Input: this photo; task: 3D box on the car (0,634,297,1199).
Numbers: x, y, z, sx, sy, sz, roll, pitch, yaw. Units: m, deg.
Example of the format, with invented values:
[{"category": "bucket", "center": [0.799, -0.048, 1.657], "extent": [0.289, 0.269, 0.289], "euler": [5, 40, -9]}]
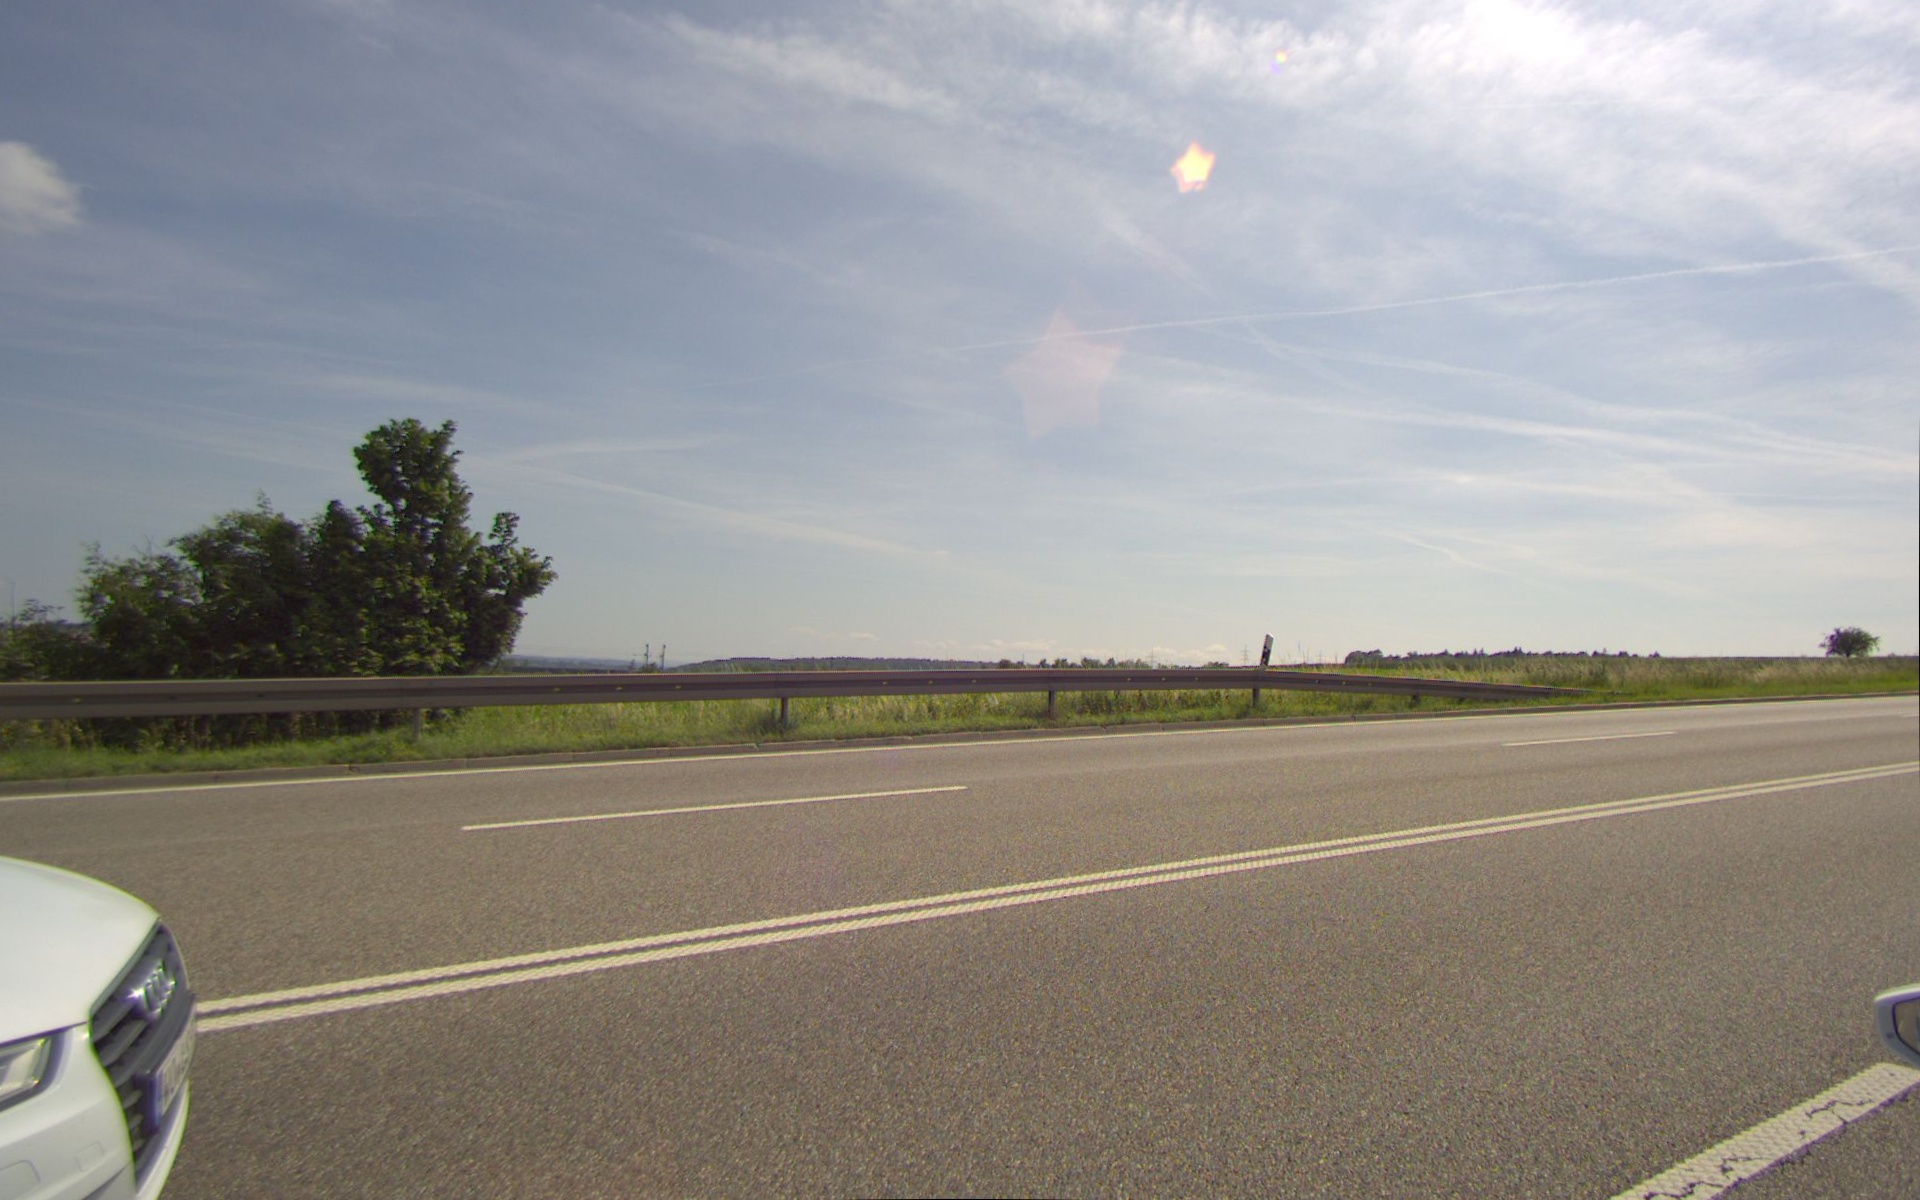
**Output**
[{"category": "car", "center": [-3.595, 0.750, 1.183], "extent": [4.549, 1.394, 1.695], "euler": [1, -1, -30]}]
